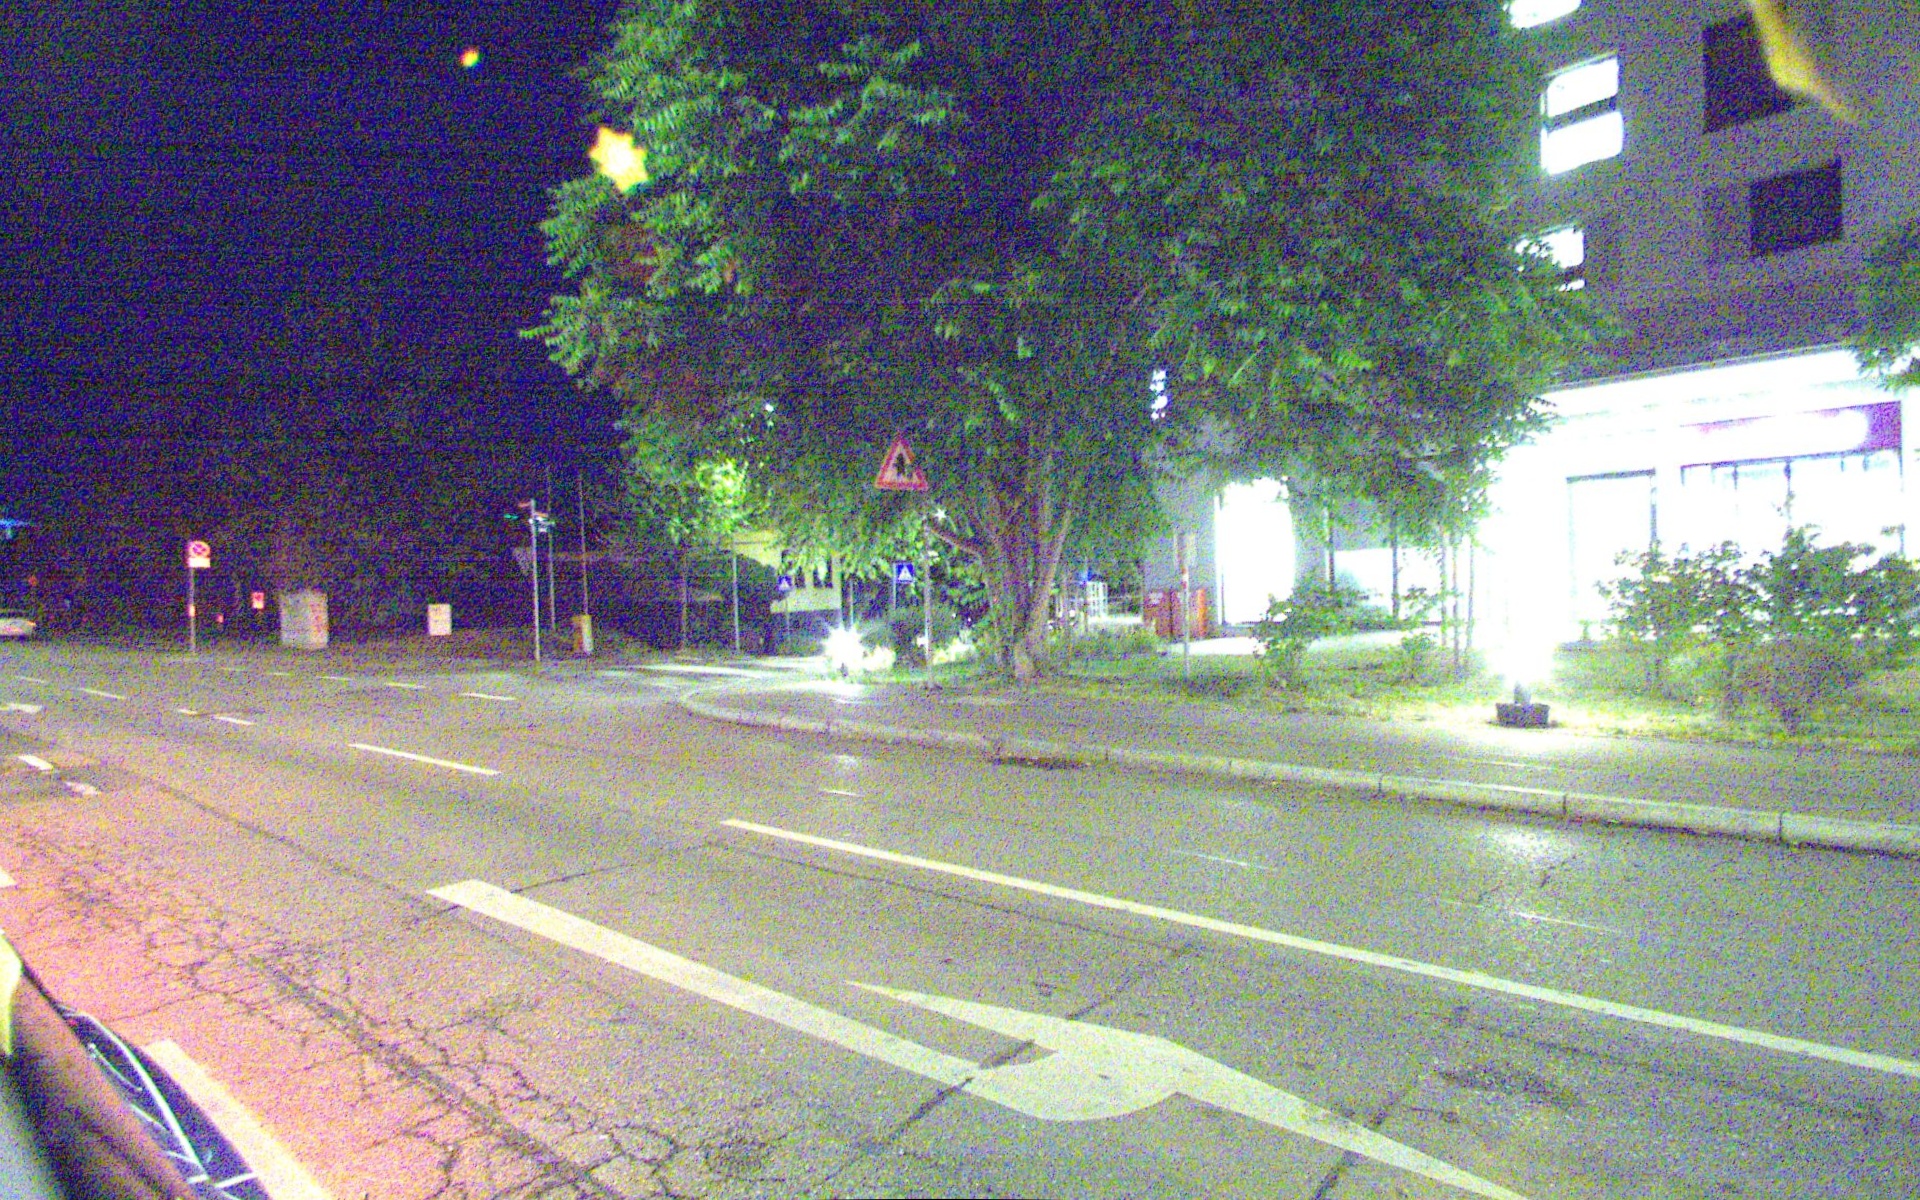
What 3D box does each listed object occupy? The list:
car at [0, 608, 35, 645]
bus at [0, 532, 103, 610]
[{"bbox_3d":[-43.256,1.173,45.656,3.997,1.604,1.783,-1,0,40],"label":"car"},{"bbox_3d":[-88.445,-2.554,98.066,14.776,6.990,6.056,-1,0,41],"label":"bus"}]
